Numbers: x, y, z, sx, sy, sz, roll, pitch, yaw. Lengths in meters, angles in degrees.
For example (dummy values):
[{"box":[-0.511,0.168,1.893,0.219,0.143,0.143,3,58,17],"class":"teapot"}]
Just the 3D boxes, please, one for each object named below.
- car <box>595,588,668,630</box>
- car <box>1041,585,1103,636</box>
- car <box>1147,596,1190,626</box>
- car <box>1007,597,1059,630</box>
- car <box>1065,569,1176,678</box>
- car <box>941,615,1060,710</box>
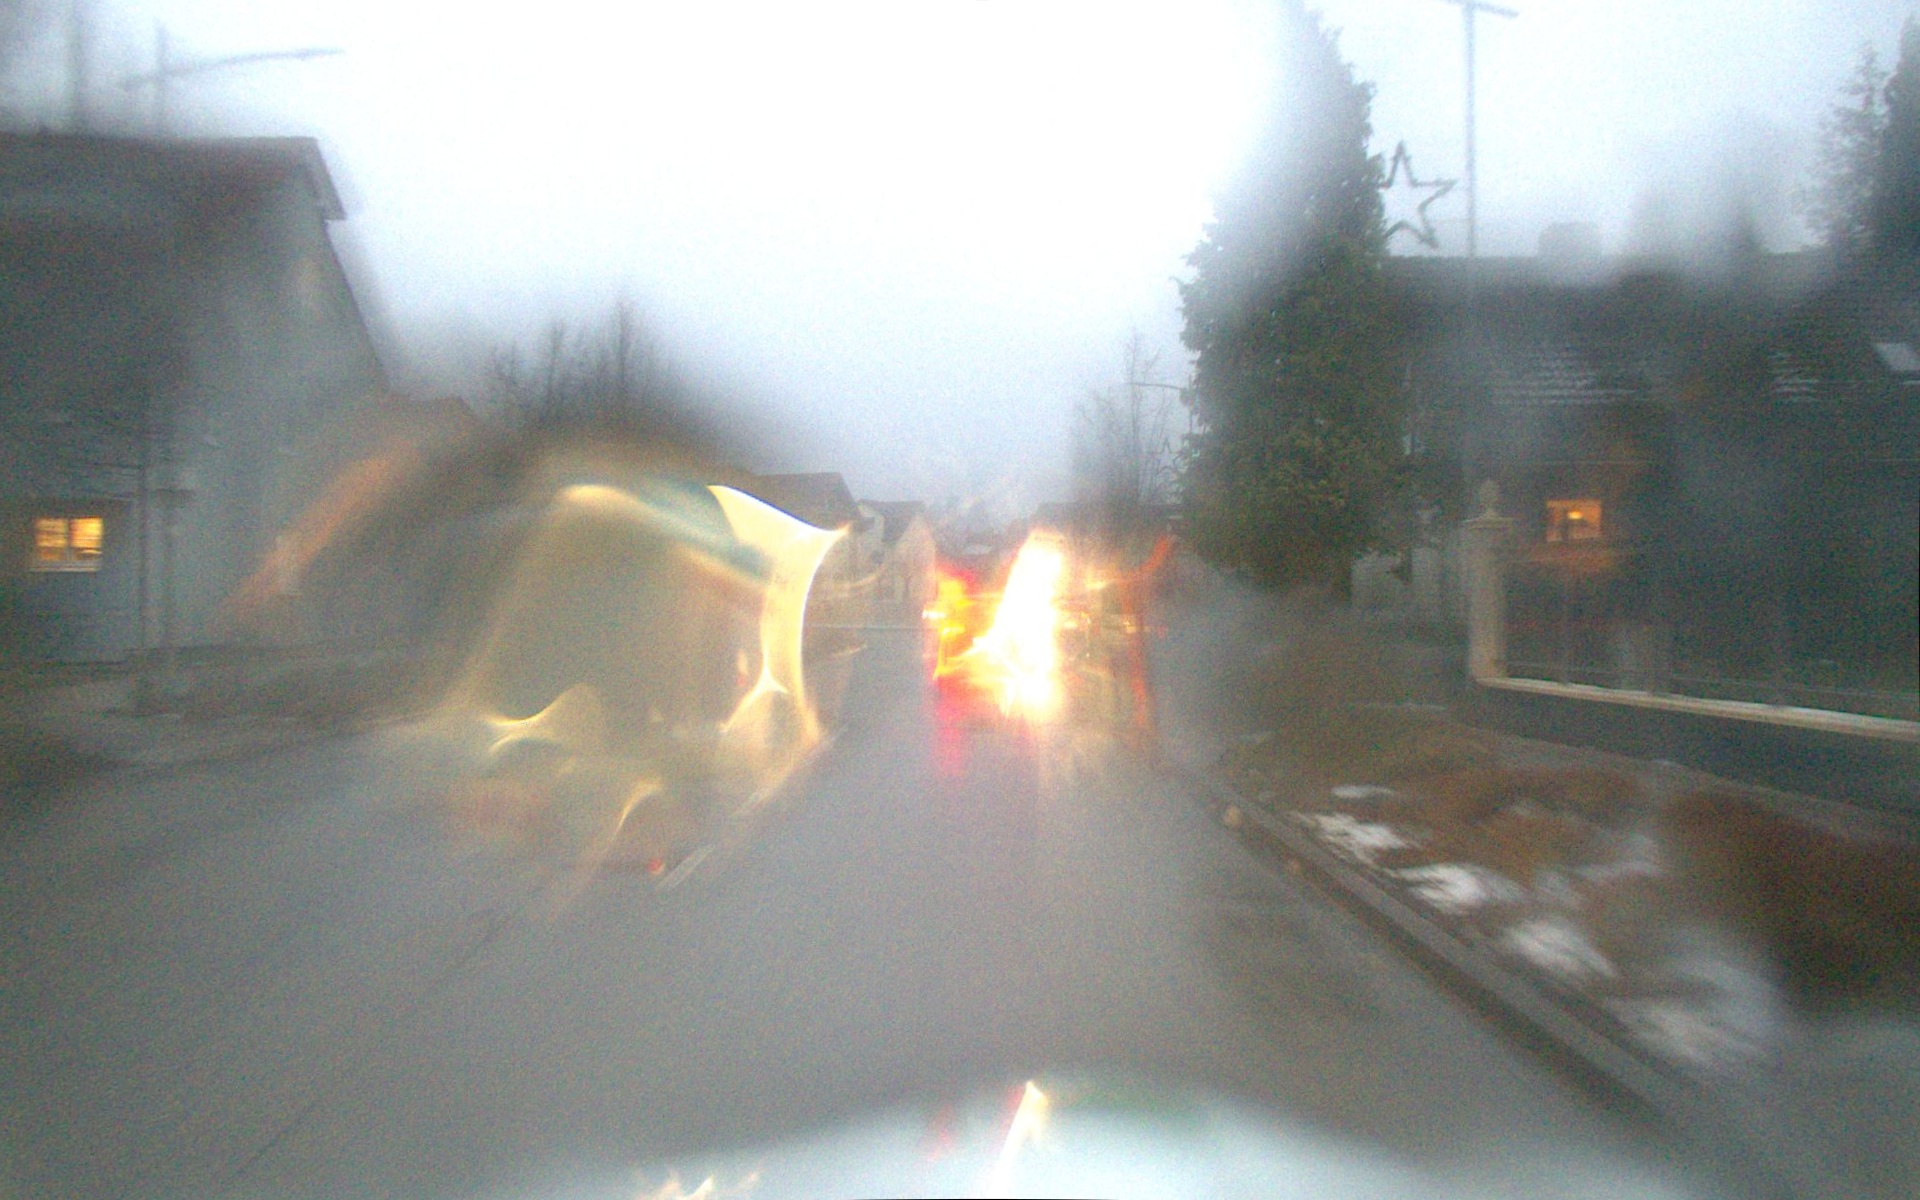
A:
[{"box":[-16.952,0.440,85.504,1.952,2.049,4.002,2,0,17],"class":"car"},{"box":[4.710,0.441,68.984,1.951,2.049,4.003,1,-1,13],"class":"car"},{"box":[12.338,0.640,97.685,1.951,1.699,4.003,0,0,16],"class":"car"},{"box":[3.536,0.627,79.370,1.866,1.514,4.572,1,0,10],"class":"car"},{"box":[3.300,0.455,35.069,1.936,2.049,5.747,-2,0,2],"class":"car"},{"box":[0.654,1.066,29.546,1.953,1.552,3.999,1,0,-1],"class":"car"}]
